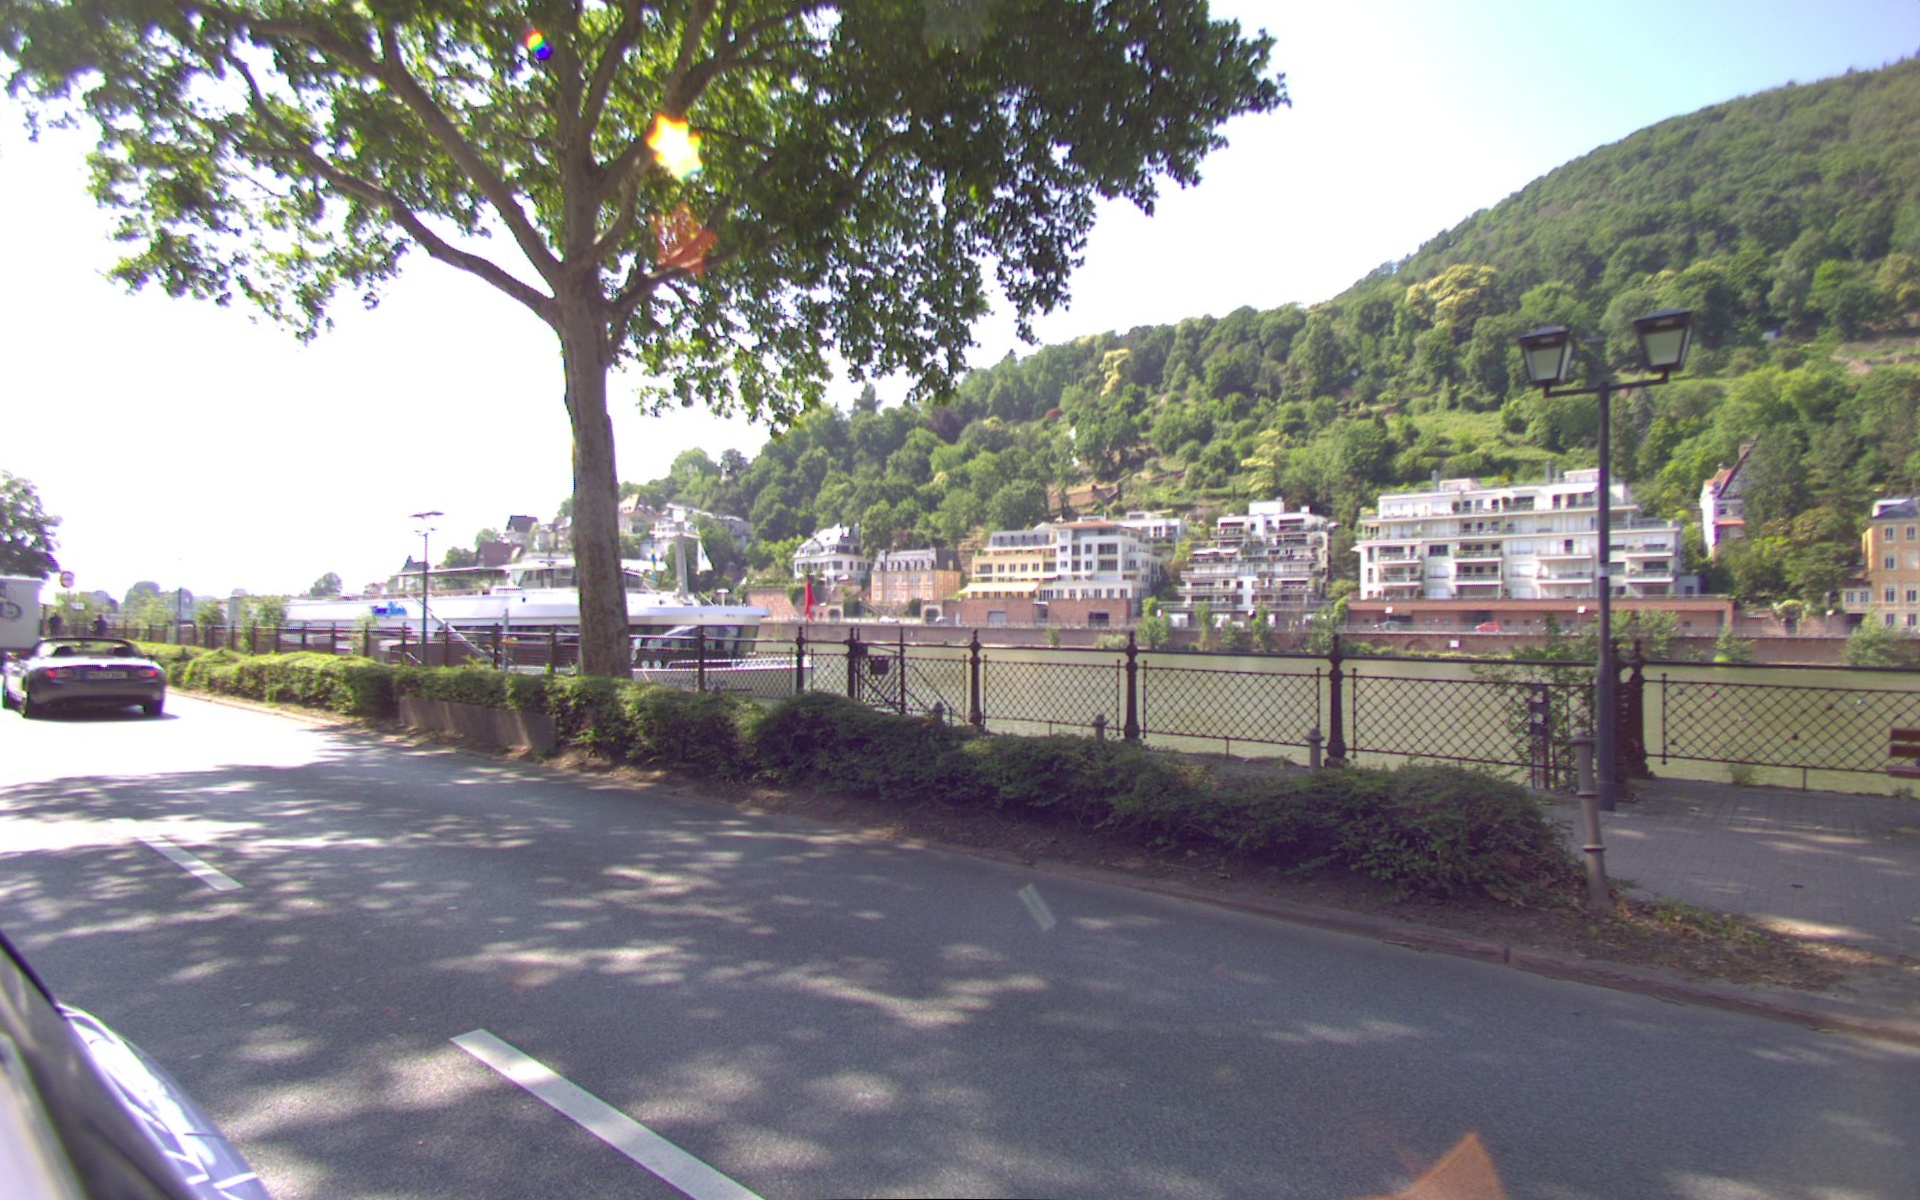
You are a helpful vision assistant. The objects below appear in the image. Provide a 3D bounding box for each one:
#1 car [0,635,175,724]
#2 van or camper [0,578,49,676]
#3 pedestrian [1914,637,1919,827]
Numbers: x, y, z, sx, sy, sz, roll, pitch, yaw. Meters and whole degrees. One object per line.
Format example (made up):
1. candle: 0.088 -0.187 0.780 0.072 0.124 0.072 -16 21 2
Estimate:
1. car: -14.084 1.211 16.168 3.483 1.220 1.681 -1 -4 40
2. van or camper: -28.711 0.745 29.487 6.260 2.682 2.298 -1 -3 41
3. pedestrian: 7.026 0.932 6.943 0.656 1.318 0.695 -1 0 41
